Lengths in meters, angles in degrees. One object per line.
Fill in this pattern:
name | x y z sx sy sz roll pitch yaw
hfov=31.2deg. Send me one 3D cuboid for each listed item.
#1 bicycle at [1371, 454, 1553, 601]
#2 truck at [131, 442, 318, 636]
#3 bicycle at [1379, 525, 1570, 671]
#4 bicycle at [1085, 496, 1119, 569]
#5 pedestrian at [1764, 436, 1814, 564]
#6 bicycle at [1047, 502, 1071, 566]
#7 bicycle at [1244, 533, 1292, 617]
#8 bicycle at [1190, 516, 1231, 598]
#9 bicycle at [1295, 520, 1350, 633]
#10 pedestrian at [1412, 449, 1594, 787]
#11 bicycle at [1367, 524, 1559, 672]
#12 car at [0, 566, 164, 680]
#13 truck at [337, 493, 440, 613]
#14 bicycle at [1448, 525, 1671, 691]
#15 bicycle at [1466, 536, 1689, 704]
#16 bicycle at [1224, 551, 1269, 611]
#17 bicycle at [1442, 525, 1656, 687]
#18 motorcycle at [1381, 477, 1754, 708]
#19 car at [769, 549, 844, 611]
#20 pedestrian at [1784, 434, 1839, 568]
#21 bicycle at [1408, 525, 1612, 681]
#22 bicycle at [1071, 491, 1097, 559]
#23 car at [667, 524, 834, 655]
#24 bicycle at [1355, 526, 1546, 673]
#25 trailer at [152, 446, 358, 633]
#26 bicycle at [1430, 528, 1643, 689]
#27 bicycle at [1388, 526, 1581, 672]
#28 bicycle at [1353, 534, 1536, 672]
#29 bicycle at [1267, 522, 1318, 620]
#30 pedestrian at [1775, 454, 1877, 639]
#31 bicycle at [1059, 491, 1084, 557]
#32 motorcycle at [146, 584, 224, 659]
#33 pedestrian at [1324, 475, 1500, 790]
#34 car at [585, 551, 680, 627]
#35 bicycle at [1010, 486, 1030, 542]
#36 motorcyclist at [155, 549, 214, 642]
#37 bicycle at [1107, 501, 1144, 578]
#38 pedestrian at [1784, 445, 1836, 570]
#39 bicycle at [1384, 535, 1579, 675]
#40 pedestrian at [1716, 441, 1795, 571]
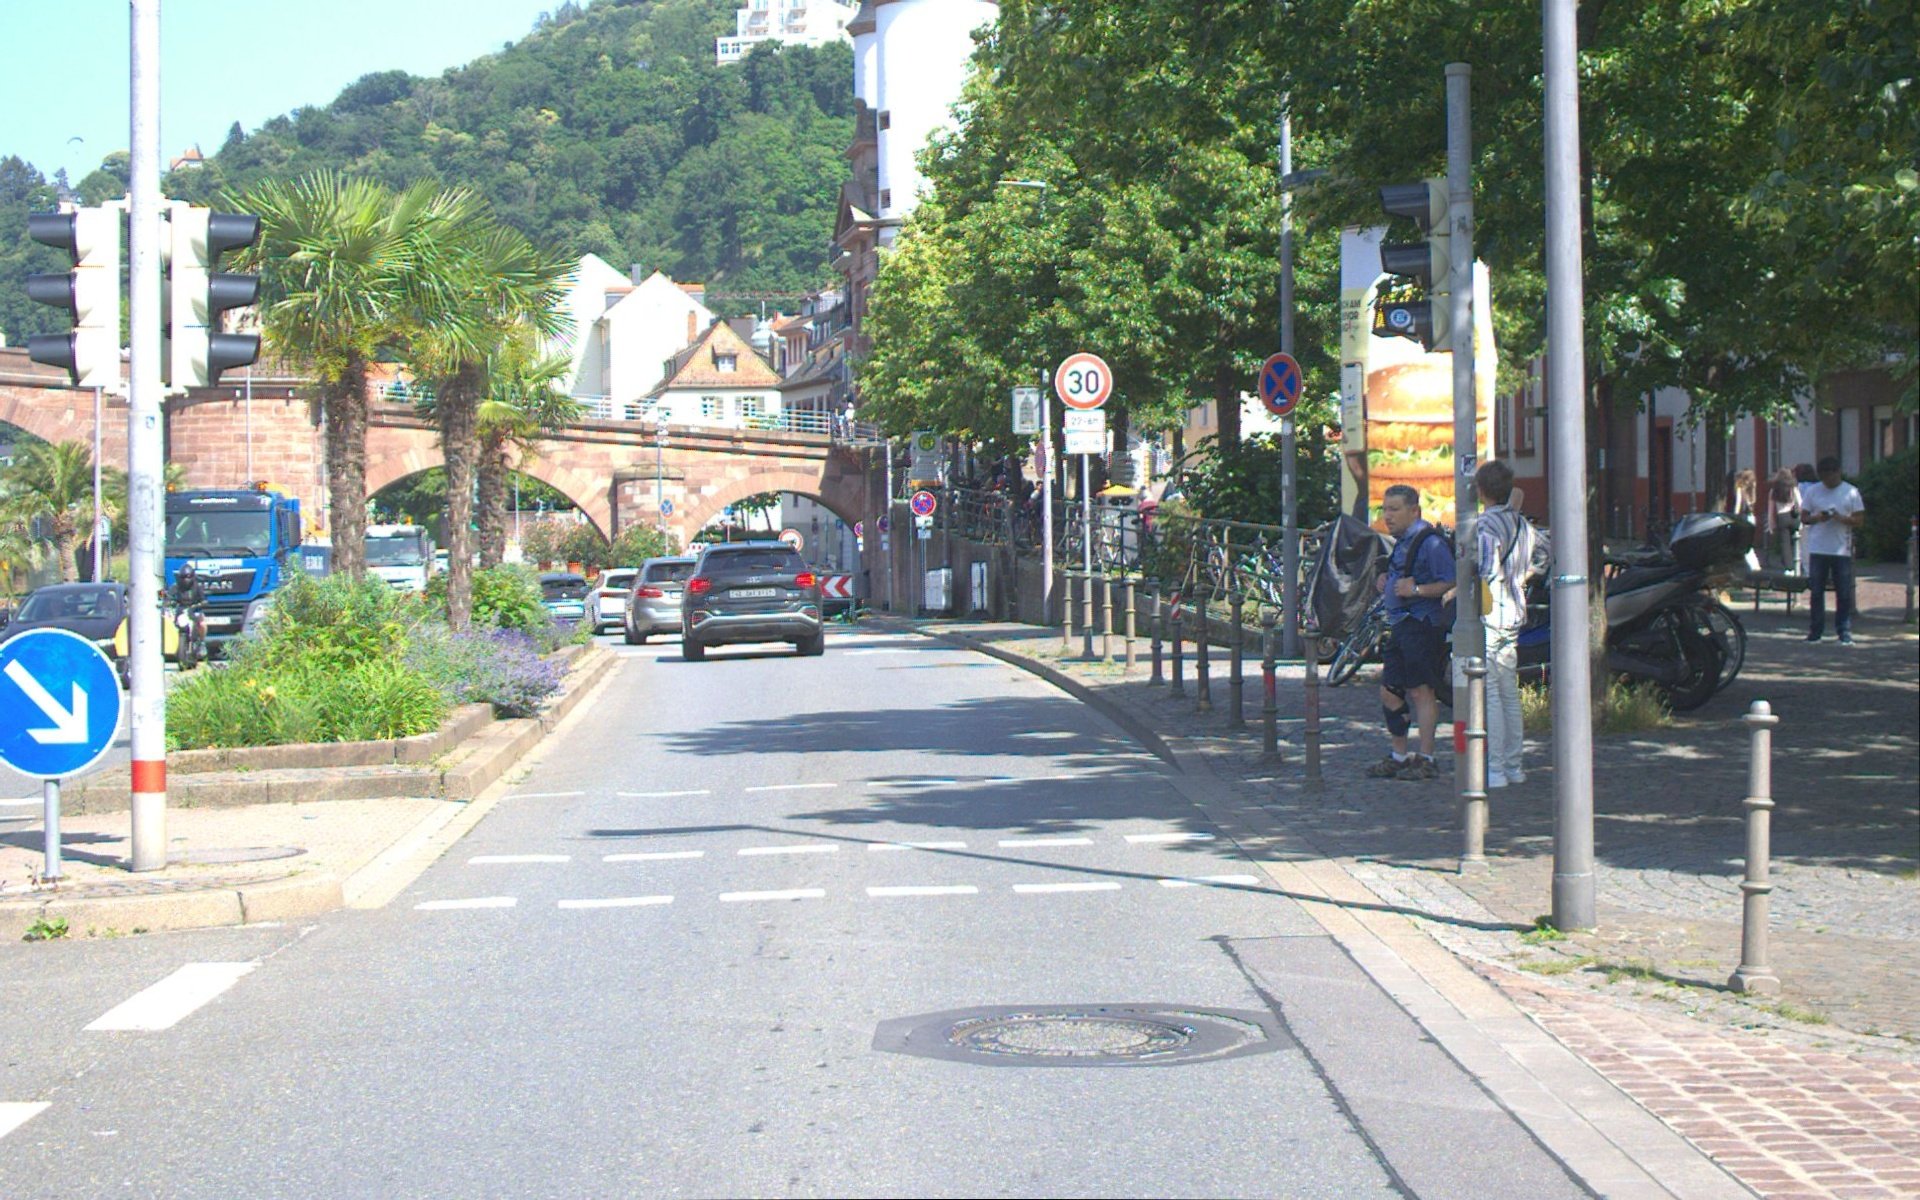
bicycle | 5.206 -0.753 35.645 1.829 1.478 0.286 -1 1 -5
truck | -13.398 -1.131 62.946 2.657 3.391 4.451 -1 1 -3
bicycle | 4.153 -0.021 27.766 1.483 1.116 0.251 -2 1 -9
bicycle | 2.209 -1.053 53.644 0.275 1.092 1.489 -5 2 -4
pedestrian | 13.109 -1.581 54.370 0.585 2.007 0.596 -1 1 -4
bicycle | 1.721 -1.154 60.049 0.250 1.092 1.489 1 1 -4
bicycle | 3.389 -0.280 37.912 0.250 0.901 1.489 -1 1 -5
bicycle | 3.092 -0.538 42.499 0.250 0.997 1.489 1 1 -5
bicycle | 3.662 -0.252 34.792 0.250 1.116 1.489 -1 1 -5
pedestrian | 2.938 0.082 18.645 0.693 1.765 0.764 -3 2 -11
bicycle | 4.097 -0.021 27.984 1.483 1.116 0.251 -3 2 -8
car | -12.167 0.307 46.421 1.952 1.408 4.219 -3 0 -2
truck | -16.736 -1.402 100.941 2.657 3.391 5.136 -1 1 -6
bicycle | 4.254 0.047 24.394 1.483 1.116 0.378 -2 1 -9
bicycle | 4.311 0.135 24.016 1.483 1.116 0.294 -2 1 -5
bicycle | 3.283 -0.226 39.465 0.250 0.661 1.469 -1 1 -5
bicycle | 4.265 0.037 24.893 1.483 1.116 0.294 -2 1 -9
motorcycle | 3.981 -0.040 22.645 2.296 1.460 0.763 -1 1 37
car | -4.210 -0.564 94.786 1.719 1.590 3.894 -1 1 2
pedestrian | 12.863 -1.495 51.958 0.634 2.006 0.644 -1 2 -3
bicycle | 4.163 0.017 26.011 1.483 1.116 0.251 -2 1 -9
bicycle | 2.016 -1.219 56.040 0.250 1.092 1.489 1 1 -4
car | -2.822 -0.188 45.340 1.926 1.548 4.833 -1 2 -7
bicycle | 4.031 -0.005 28.259 1.483 1.116 0.251 -3 2 -8
trailer | -13.672 -1.216 67.314 2.657 3.391 8.828 -1 1 -3
bicycle | 4.223 0.056 25.189 1.483 1.116 0.294 -2 1 -9
bicycle | 4.204 -0.013 27.551 1.483 1.116 0.251 -2 1 -9
bicycle | 4.024 0.021 28.559 1.483 1.116 0.251 -1 1 -9
bicycle | 3.510 -0.318 36.326 0.250 1.007 1.489 -1 1 -5
pedestrian | 7.840 -0.490 31.145 0.707 1.647 0.707 -1 2 -4
bicycle | 1.884 -1.280 57.962 0.250 1.092 1.489 1 1 -4
motorcycle | -12.469 0.333 55.384 0.757 1.127 2.456 -1 1 -2
pedestrian | 2.489 0.164 18.990 0.693 1.671 0.764 -3 2 -11
car | -7.413 -0.277 78.183 1.993 1.548 4.833 -1 2 -4
bicycle | 1.202 -1.711 68.647 0.356 1.092 1.489 1 1 2
motorcyclist | -12.459 -0.082 55.274 0.736 1.465 1.011 -1 1 -2
bicycle | 2.404 -0.882 50.081 0.345 1.092 1.489 1 1 -4
pedestrian | 12.632 -1.375 51.118 0.585 1.834 0.596 -1 2 -4
bicycle | 4.103 0.034 27.039 1.483 1.043 0.251 -2 1 -9
pedestrian | 11.849 -1.395 51.239 0.968 1.908 0.747 -1 1 -3
